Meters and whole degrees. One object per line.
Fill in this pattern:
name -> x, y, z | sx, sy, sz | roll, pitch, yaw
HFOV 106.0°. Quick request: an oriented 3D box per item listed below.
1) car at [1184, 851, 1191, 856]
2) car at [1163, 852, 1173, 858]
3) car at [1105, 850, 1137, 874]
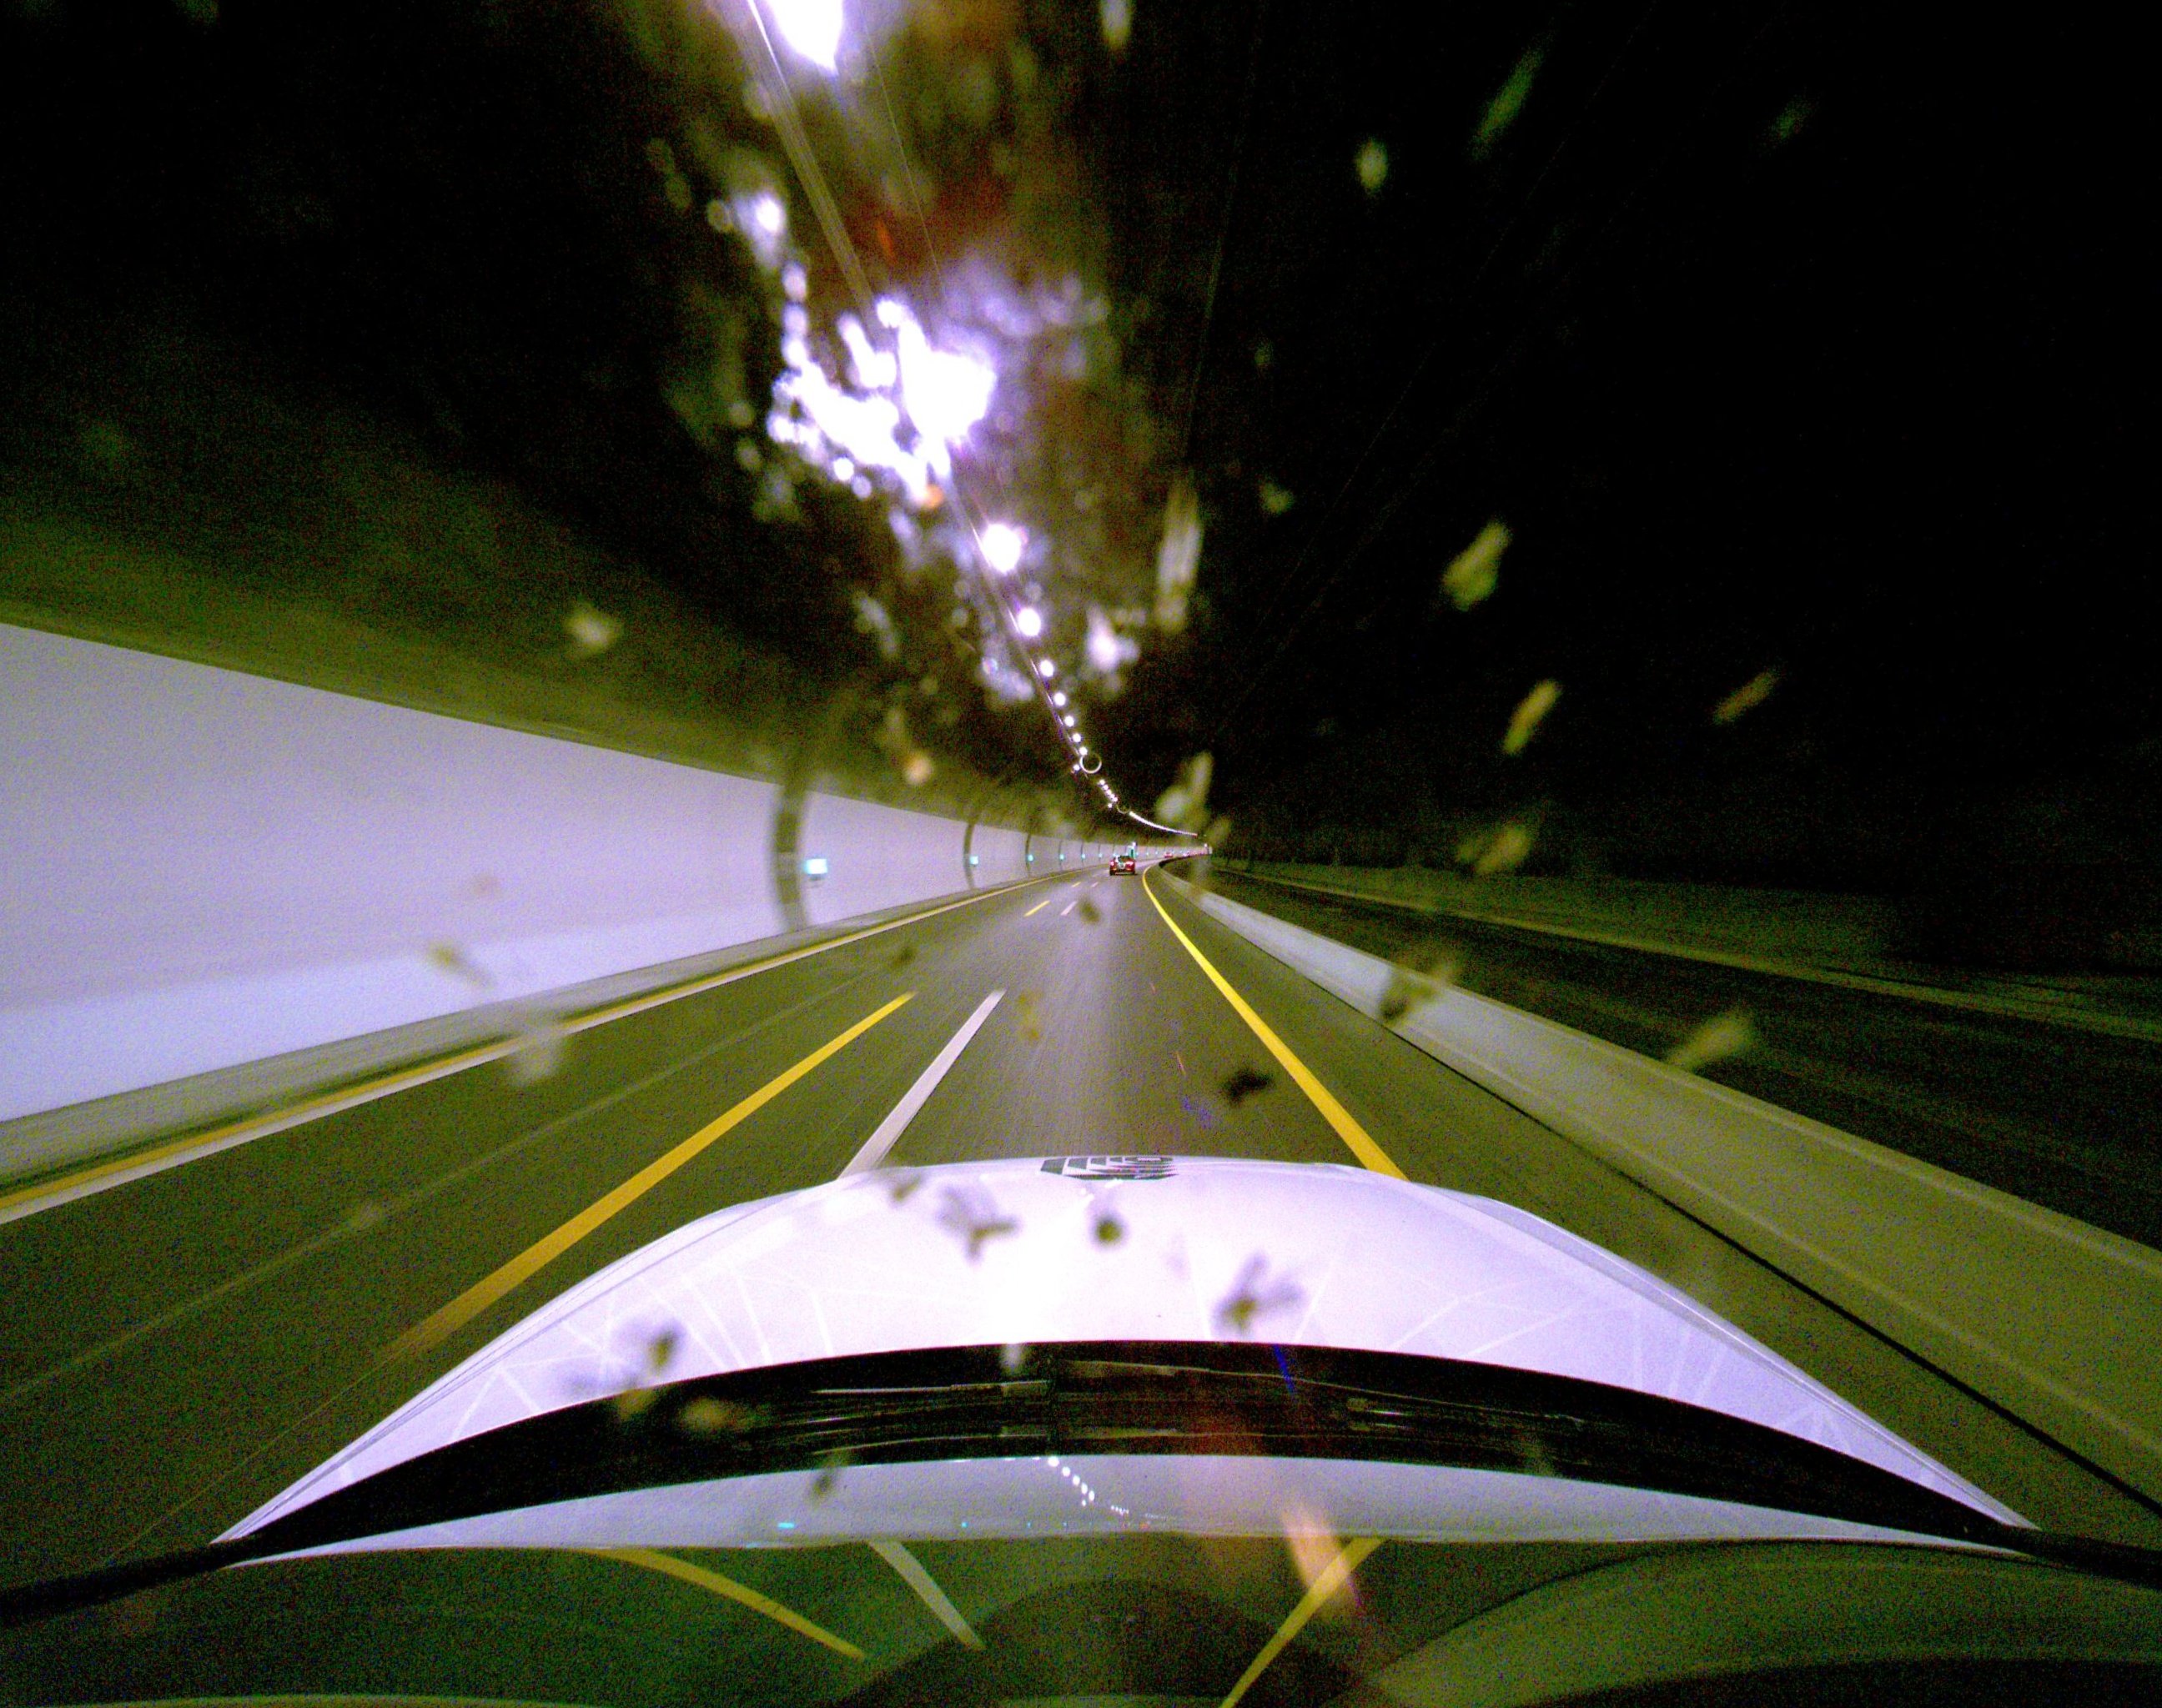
car -> 30.189, -0.159, 231.093 | 1.584, 1.333, 3.763 | -1, 0, 12
car -> 23.001, 0.314, 215.169 | 2.151, 1.486, 4.012 | -1, 0, 10
car -> 3.009, 0.564, 60.781 | 2.130, 1.706, 4.008 | -1, 0, 6
